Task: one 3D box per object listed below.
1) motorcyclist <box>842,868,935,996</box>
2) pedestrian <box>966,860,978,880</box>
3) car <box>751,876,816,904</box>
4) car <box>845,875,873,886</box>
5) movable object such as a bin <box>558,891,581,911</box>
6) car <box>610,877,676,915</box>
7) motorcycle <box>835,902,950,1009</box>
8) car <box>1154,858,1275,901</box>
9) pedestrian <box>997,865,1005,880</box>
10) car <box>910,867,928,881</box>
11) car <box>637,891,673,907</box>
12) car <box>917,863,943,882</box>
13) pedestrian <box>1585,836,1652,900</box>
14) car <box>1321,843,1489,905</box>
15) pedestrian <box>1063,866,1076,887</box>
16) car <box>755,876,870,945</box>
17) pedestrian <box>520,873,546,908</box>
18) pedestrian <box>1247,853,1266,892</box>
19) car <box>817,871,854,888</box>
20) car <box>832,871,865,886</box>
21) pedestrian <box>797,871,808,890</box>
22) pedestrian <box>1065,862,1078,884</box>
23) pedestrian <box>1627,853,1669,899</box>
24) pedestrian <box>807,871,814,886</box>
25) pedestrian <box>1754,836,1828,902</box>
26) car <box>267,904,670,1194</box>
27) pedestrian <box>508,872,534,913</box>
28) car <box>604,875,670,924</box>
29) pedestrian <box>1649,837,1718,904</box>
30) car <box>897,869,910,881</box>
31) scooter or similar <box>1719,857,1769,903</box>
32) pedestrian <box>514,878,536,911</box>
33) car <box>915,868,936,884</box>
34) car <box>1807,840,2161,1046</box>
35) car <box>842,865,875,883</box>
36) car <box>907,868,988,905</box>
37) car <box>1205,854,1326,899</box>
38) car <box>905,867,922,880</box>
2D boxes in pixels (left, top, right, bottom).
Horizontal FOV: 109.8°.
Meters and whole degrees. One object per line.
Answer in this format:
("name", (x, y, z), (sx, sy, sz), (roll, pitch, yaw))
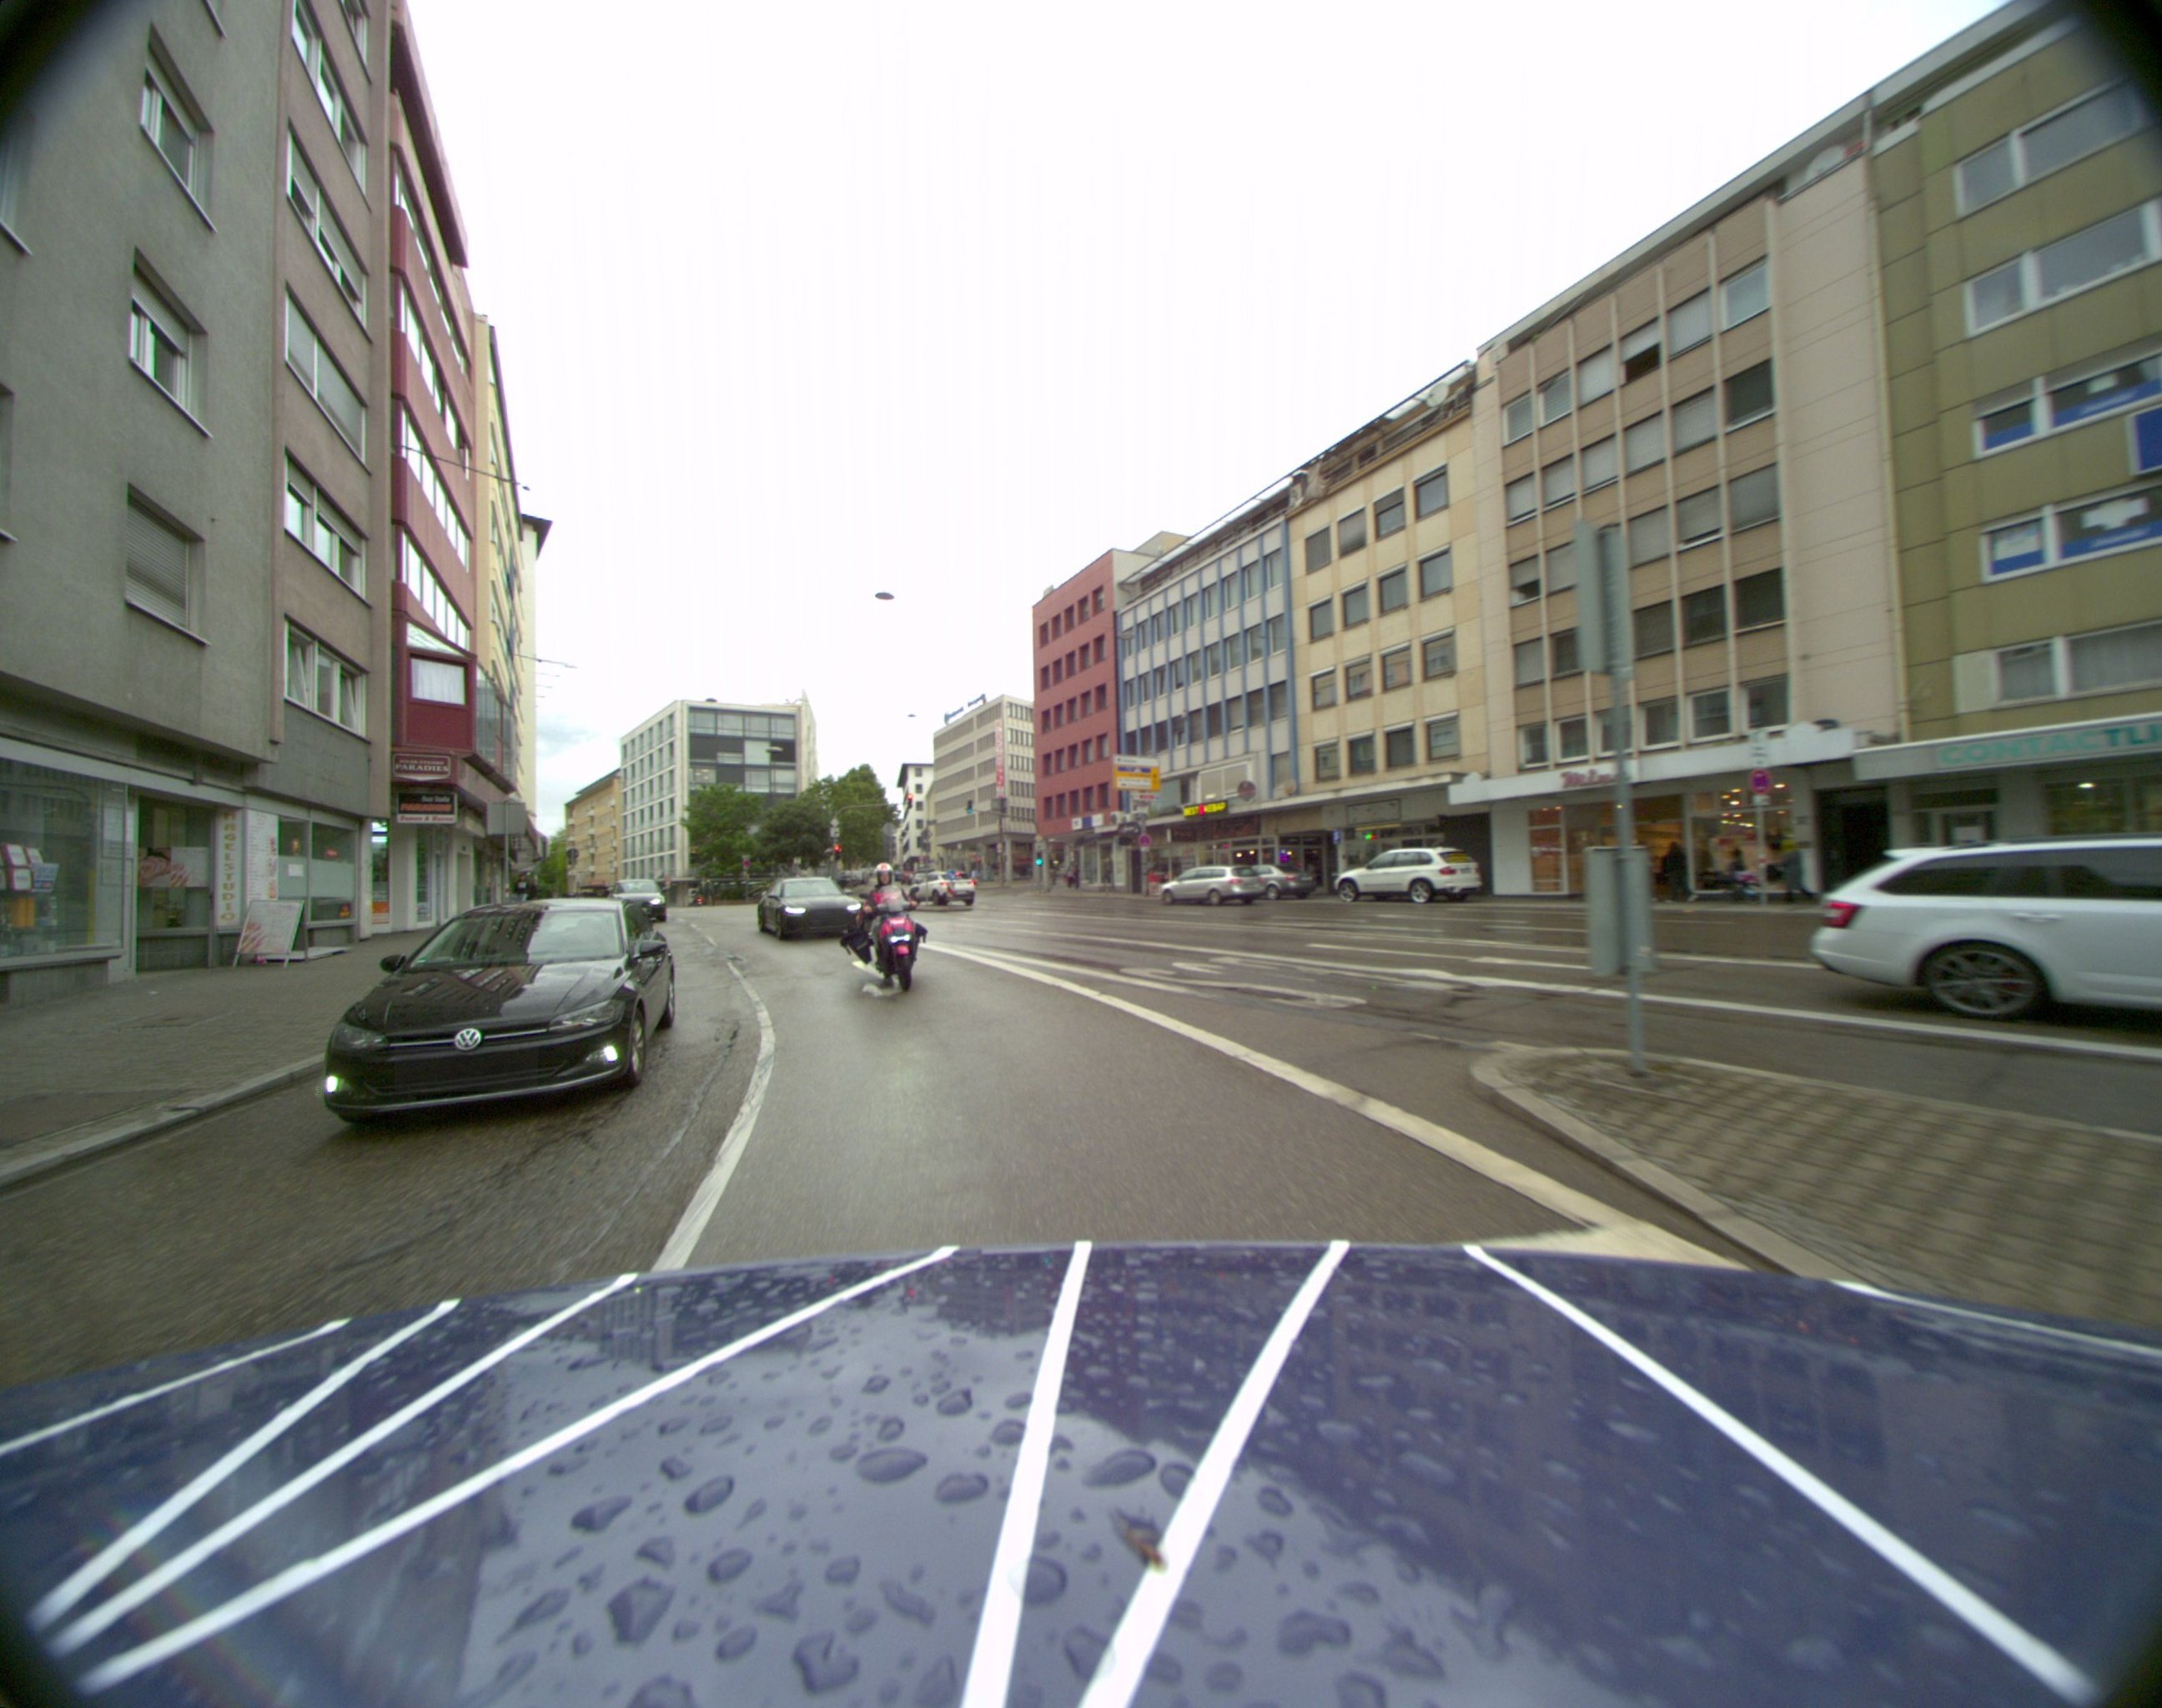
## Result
("motorcyclist", (-2.658, 1.022, 10.429), (1.094, 1.595, 0.952), (-3, 0, -19))
("pedestrian", (-11.404, 1.665, 79.374), (0.995, 2.002, 0.946), (-2, 0, -15))
("car", (-21.470, 2.577, 54.940), (1.995, 1.673, 4.007), (-3, 0, 27))
("car", (-27.686, 3.286, 94.944), (3.048, 1.176, 2.050), (-4, 0, -11))
("movable object such as a bin", (-24.046, 2.217, 35.729), (0.531, 0.928, 0.673), (1, -3, 5))
("car", (-20.878, 1.985, 36.378), (2.002, 1.574, 4.098), (-3, -1, -20))
("motorcycle", (-2.669, 1.315, 10.501), (1.315, 1.128, 2.182), (-2, 0, -19))
("car", (4.947, 0.981, 28.907), (1.794, 1.437, 4.743), (-2, -1, -31))
("pedestrian", (-8.658, 2.001, 82.184), (0.715, 1.613, 0.723), (-2, 0, -12))
("car", (-21.051, 2.600, 98.636), (2.028, 1.739, 4.610), (-4, -1, -15))
("car", (-38.485, 4.081, 68.651), (1.979, 1.379, 3.990), (2, -4, -42))
("car", (-18.041, 2.199, 90.343), (2.099, 2.078, 4.607), (-4, -1, -22))
("pedestrian", (15.132, 0.402, 21.418), (0.955, 1.703, 1.089), (-4, -1, -14))
("car", (10.591, 0.670, 25.286), (1.858, 1.816, 4.953), (-2, -1, -29))
("pedestrian", (-0.922, 1.763, 60.640), (0.693, 1.620, 0.734), (-4, -1, 33))
("car", (-7.096, 1.366, 19.733), (2.003, 1.482, 4.725), (-2, -1, -29))
("pedestrian", (-28.349, 1.874, 39.336), (0.754, 1.712, 0.753), (-4, 0, -10))
("pedestrian", (7.918, 0.833, 34.249), (0.447, 1.698, 0.583), (-4, 0, -29))
("car", (-26.823, 2.747, 83.119), (3.547, 1.550, 1.738), (-4, 1, -11))
("car", (-27.876, 2.934, 91.260), (3.547, 1.550, 1.738), (-4, 1, -13))
("pedestrian", (-27.884, 2.663, 76.058), (0.790, 1.802, 0.592), (-4, -2, -39))
("pedestrian", (-0.786, 1.572, 62.543), (0.731, 1.737, 0.744), (-4, -1, 31))
("pedestrian", (15.854, 0.613, 21.240), (0.537, 1.242, 0.719), (-4, -1, -31))
("pedestrian", (-32.457, 2.976, 91.278), (0.593, 1.802, 0.703), (-4, -1, -14))
("pedestrian", (16.668, 0.358, 17.854), (0.670, 1.475, 1.063), (-4, -1, -31))
("car", (-4.609, 1.238, 6.415), (1.746, 1.422, 3.873), (-1, -1, -25))
("pedestrian", (-24.529, 1.708, 33.288), (0.840, 1.753, 0.616), (3, -6, -38))
("car", (-16.205, 1.612, 27.721), (1.875, 1.538, 4.095), (-3, -1, -31))
("pedestrian", (16.103, 0.444, 20.327), (0.956, 1.685, 1.084), (-4, -1, -32))
("car", (-30.571, 3.629, 130.938), (2.028, 1.830, 4.041), (-4, -1, -15))
("scooter or similar", (16.224, 0.628, 18.607), (0.740, 1.048, 0.699), (-4, 1, -31))
("pedestrian", (-31.126, 2.259, 42.553), (0.617, 1.752, 0.788), (-4, 0, -10))
("car", (-17.380, 2.472, 84.627), (2.003, 1.621, 4.610), (-4, -1, -14))
("car", (8.514, 0.587, 5.312), (1.801, 1.407, 4.622), (-2, -1, -31))
("car", (-31.666, 2.878, 108.219), (3.832, 2.252, 1.985), (-4, 1, 3))
("car", (-6.409, 1.552, 36.087), (2.003, 1.542, 4.419), (-3, -1, -35))
("car", (7.368, 0.919, 30.864), (1.873, 1.599, 4.870), (-2, -1, -29))
("car", (-23.186, 2.719, 105.120), (1.935, 1.662, 4.440), (-4, -1, -17))
